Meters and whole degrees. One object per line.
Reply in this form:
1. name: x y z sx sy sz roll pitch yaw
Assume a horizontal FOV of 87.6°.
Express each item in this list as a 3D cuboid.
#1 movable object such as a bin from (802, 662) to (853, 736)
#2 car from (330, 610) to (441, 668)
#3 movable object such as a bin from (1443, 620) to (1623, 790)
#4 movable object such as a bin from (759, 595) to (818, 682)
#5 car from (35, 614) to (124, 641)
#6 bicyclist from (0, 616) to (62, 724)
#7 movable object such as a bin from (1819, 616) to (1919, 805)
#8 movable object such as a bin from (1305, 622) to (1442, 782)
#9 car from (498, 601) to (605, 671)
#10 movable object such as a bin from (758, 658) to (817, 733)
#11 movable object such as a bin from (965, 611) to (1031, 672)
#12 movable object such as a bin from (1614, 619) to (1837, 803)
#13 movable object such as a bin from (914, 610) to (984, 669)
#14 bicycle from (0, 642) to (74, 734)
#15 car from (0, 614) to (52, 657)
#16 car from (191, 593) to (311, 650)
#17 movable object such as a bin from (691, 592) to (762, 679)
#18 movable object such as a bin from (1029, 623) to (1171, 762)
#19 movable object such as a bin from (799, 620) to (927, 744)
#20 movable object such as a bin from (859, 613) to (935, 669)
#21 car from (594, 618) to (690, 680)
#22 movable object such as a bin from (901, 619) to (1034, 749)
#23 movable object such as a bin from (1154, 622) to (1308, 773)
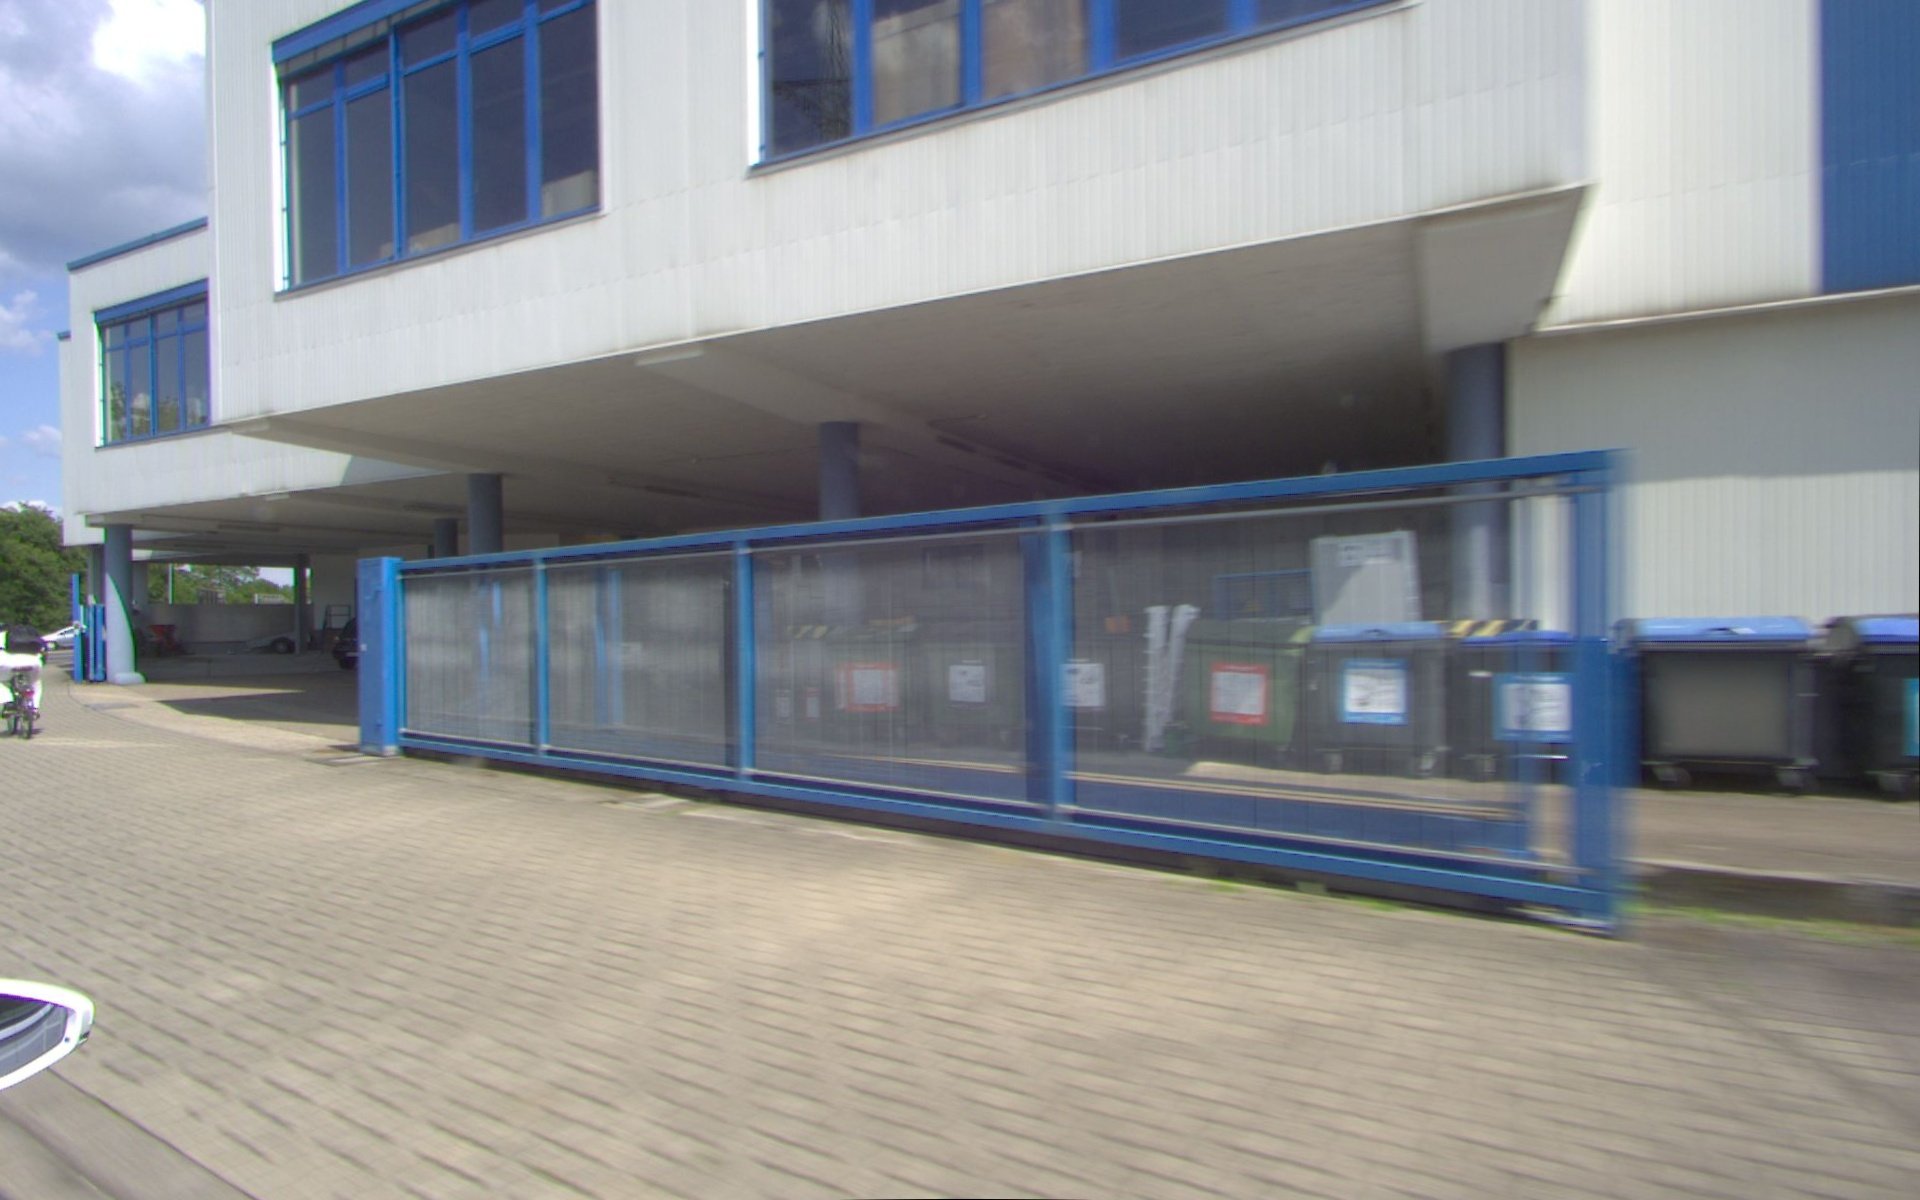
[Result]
1. movable object such as a bin: -1.731 1.285 13.115 0.410 0.922 0.599 -1 -1 23
2. car: -19.095 1.257 33.440 1.638 1.681 3.661 1 1 -1
3. movable object such as a bin: 5.144 0.907 9.098 1.336 1.431 0.804 -1 -1 25
4. movable object such as a bin: -4.428 0.986 26.091 1.293 2.112 2.916 1 -1 -6
5. car: -54.127 1.699 61.577 1.724 1.590 4.022 -2 -2 44
6. bicyclist: -12.770 0.926 13.628 0.847 1.416 0.661 0 0 37
7. movable object such as a bin: 7.719 0.846 7.822 1.336 1.431 0.804 -1 -1 25
8. movable object such as a bin: 3.954 0.936 9.597 1.155 1.431 0.804 -1 -1 24
9. car: -11.495 0.992 28.450 1.726 1.804 4.105 1 -1 -6
10. movable object such as a bin: -2.301 1.268 13.382 0.535 0.955 0.588 -1 -1 24
11. movable object such as a bin: 0.977 1.034 25.446 1.271 1.488 1.335 0 0 23
12. movable object such as a bin: 6.406 0.889 8.477 1.336 1.431 0.804 -1 -1 25
13. movable object such as a bin: -0.265 1.015 26.102 1.414 1.488 1.335 0 0 23
14. bicycle: -12.819 1.158 13.676 2.140 1.123 0.664 -1 0 37
15. car: -37.100 1.374 38.904 1.889 1.613 4.675 0 -2 -32
16. car: -27.549 0.900 39.054 3.677 2.038 1.988 3 -4 -34
17. movable object such as a bin: -6.097 0.916 26.419 1.407 2.112 3.435 1 -1 -6
18. movable object such as a bin: 1.536 0.974 10.947 1.382 1.431 0.804 -1 -1 24
19. movable object such as a bin: -1.171 0.968 12.173 1.335 1.431 0.804 -1 -1 24
20. movable object such as a bin: -1.661 1.072 26.779 1.548 1.423 1.465 0 0 23
21. car: -8.647 1.320 27.525 1.807 1.565 3.663 1 -2 -6
22. movable object such as a bin: 0.090 0.942 11.604 1.335 1.431 0.804 -1 -1 24
23. movable object such as a bin: 2.753 0.947 10.144 1.404 1.431 0.804 -1 -1 24
